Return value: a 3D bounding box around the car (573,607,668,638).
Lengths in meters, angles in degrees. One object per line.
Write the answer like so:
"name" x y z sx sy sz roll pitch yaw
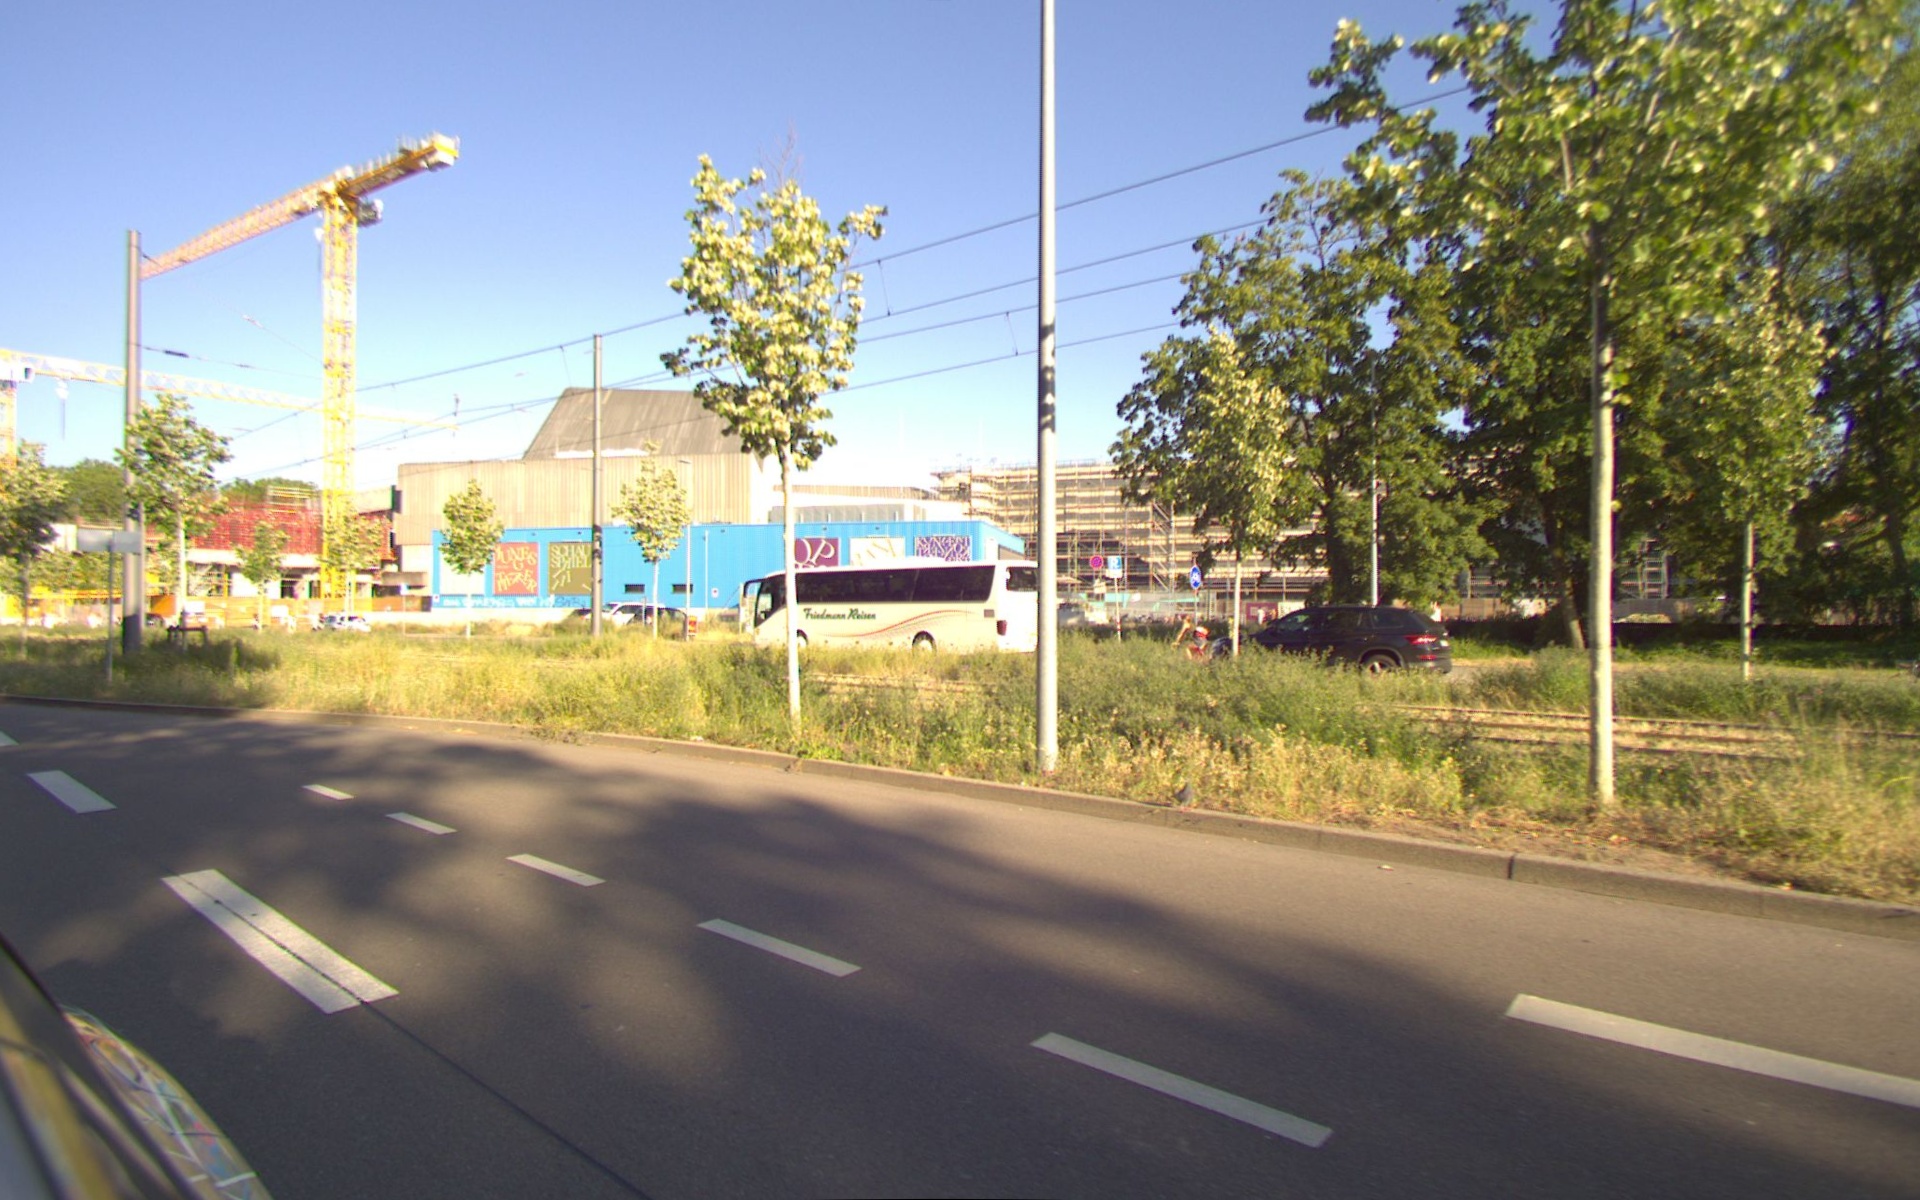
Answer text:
"car" -20.460 1.326 61.148 2.122 1.730 5.177 -1 -1 38

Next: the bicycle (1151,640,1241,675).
"bicycle" 5.931 1.437 25.520 2.143 0.810 0.681 -1 -1 40

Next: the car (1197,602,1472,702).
"car" 7.341 0.953 20.165 4.809 1.779 1.851 -1 -1 40

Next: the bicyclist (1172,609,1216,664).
"bicyclist" 5.911 0.916 25.535 0.870 1.357 0.681 -1 -1 39

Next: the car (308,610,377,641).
"car" -34.024 1.385 55.723 4.163 1.655 1.974 -1 -1 39

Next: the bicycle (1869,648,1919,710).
"bicycle" 16.681 1.327 16.788 2.360 1.010 0.680 -1 -1 41

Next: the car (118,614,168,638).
"car" -59.767 1.866 74.045 4.265 1.663 1.974 -1 -1 38

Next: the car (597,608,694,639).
"car" -18.367 1.357 59.319 2.122 1.730 5.177 -1 -1 38

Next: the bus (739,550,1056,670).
"bus" -2.665 0.375 35.582 12.686 3.622 2.771 -1 -1 40
